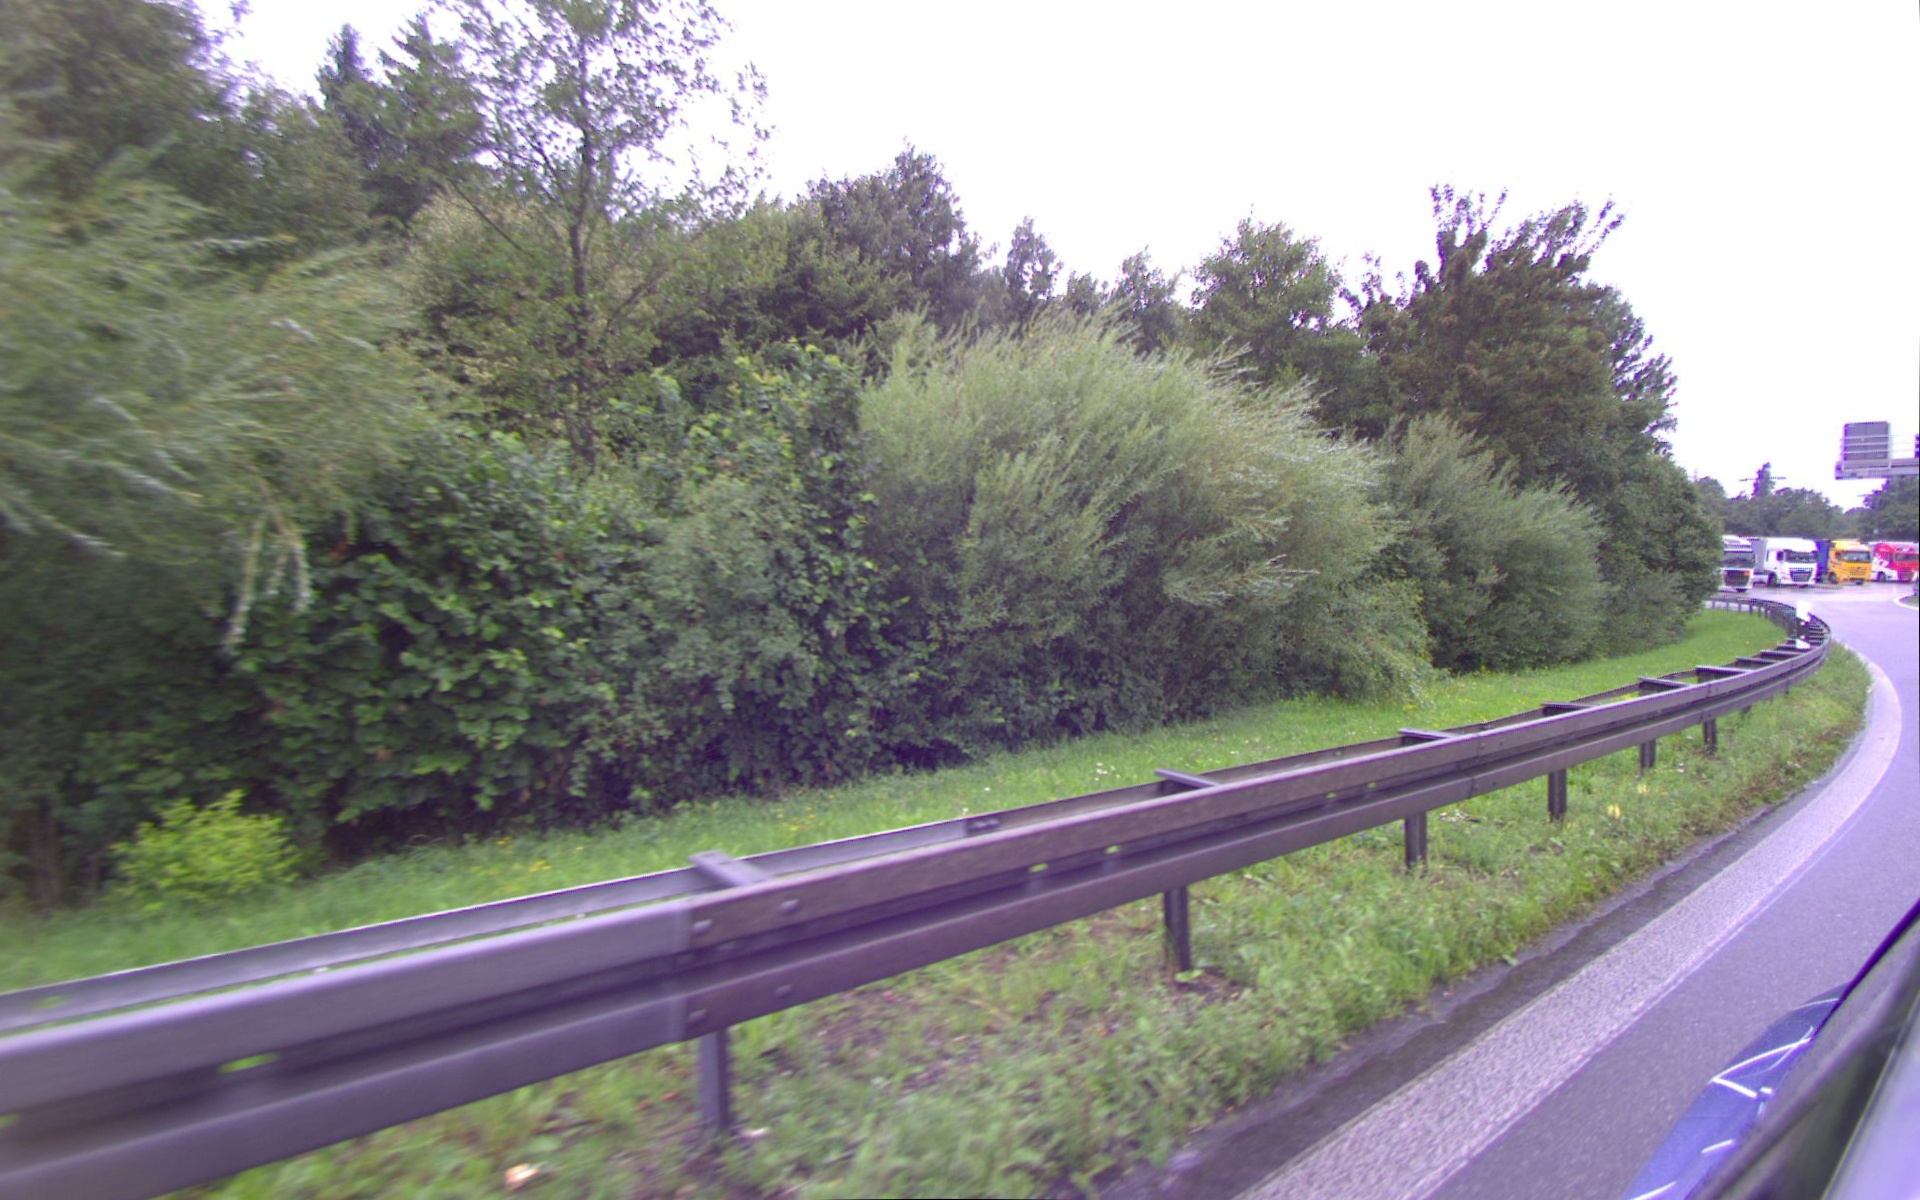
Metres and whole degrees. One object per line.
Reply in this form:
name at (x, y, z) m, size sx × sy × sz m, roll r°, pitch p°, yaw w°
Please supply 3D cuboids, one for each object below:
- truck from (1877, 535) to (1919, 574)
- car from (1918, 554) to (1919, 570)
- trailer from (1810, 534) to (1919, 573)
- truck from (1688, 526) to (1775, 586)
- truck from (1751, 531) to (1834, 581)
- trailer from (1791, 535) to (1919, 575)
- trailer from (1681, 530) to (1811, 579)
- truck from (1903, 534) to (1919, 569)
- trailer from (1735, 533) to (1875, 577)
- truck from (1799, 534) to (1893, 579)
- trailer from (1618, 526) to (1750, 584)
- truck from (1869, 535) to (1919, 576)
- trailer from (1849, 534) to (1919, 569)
truck at (98.554, -4.694, 104.146) m, size 2.850 × 3.966 × 6.547 m, roll 1°, pitch 4°, yaw 7°
car at (111.932, -4.279, 115.515) m, size 1.818 × 1.881 × 3.991 m, roll 0°, pitch 3°, yaw 10°
trailer at (99.374, -5.153, 110.503) m, size 2.828 × 3.966 × 13.917 m, roll 1°, pitch 4°, yaw 7°
truck at (56.444, -3.286, 74.217) m, size 2.782 × 4.195 × 5.290 m, roll 1°, pitch 3°, yaw 10°
truck at (68.441, -3.662, 83.342) m, size 2.785 × 3.960 × 5.399 m, roll 1°, pitch 3°, yaw 10°
trailer at (95.568, -4.951, 107.866) m, size 3.191 × 3.966 × 14.811 m, roll 1°, pitch 4°, yaw 7°
trailer at (69.645, -4.161, 90.282) m, size 2.798 × 3.966 × 13.925 m, roll 1°, pitch 4°, yaw 10°
truck at (116.534, -5.721, 119.673) m, size 3.191 × 4.140 × 7.928 m, roll 1°, pitch 4°, yaw 7°
trailer at (83.949, -4.685, 101.223) m, size 2.824 × 3.966 × 16.592 m, roll 1°, pitch 4°, yaw 11°
truck at (82.682, -4.168, 94.693) m, size 2.796 × 3.966 × 8.109 m, roll 1°, pitch 4°, yaw 11°
trailer at (57.731, -3.773, 81.327) m, size 2.781 × 4.220 × 13.962 m, roll 1°, pitch 4°, yaw 10°
truck at (94.700, -4.492, 101.194) m, size 3.191 × 3.966 × 5.015 m, roll 1°, pitch 3°, yaw 8°
trailer at (117.315, -6.082, 125.641) m, size 3.191 × 4.140 × 13.515 m, roll 1°, pitch 4°, yaw 7°
